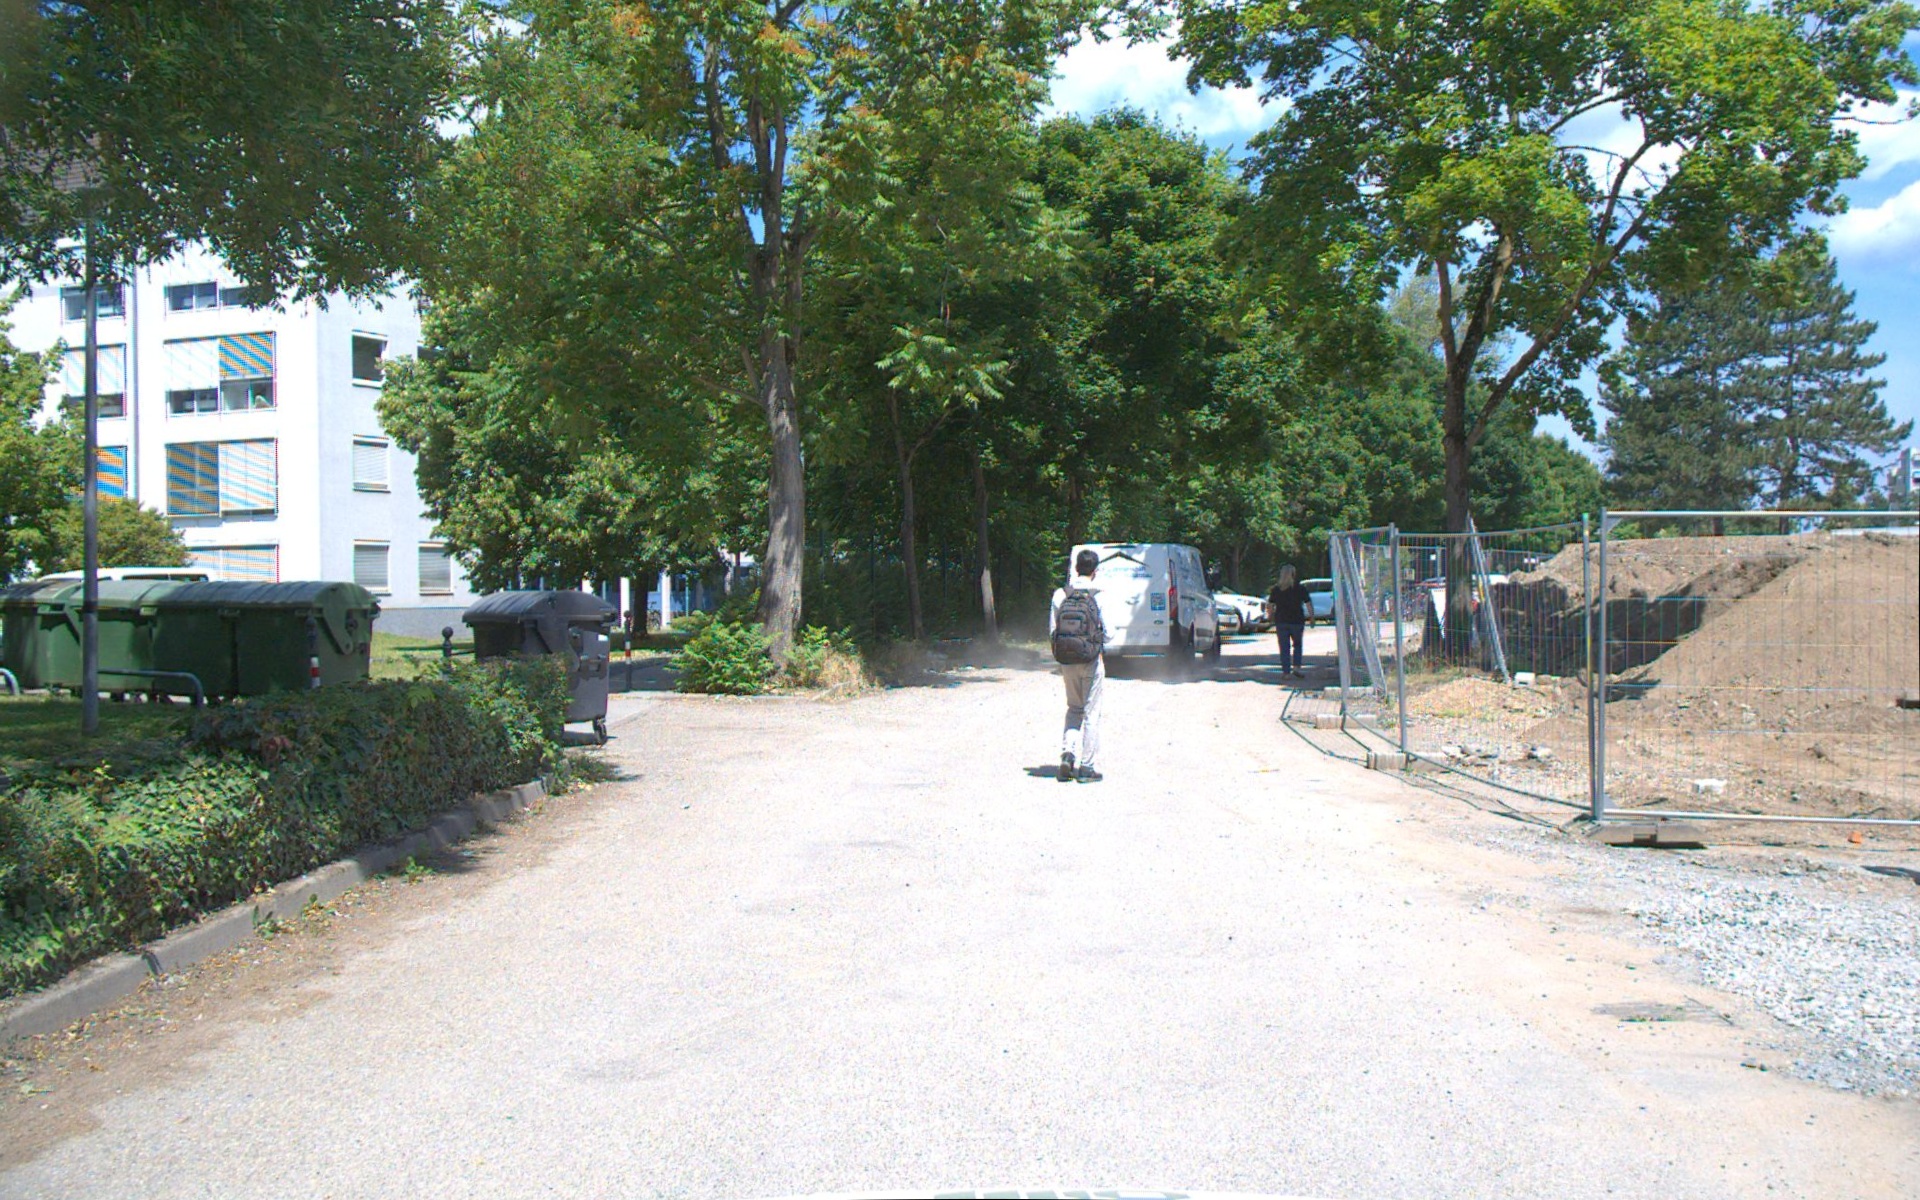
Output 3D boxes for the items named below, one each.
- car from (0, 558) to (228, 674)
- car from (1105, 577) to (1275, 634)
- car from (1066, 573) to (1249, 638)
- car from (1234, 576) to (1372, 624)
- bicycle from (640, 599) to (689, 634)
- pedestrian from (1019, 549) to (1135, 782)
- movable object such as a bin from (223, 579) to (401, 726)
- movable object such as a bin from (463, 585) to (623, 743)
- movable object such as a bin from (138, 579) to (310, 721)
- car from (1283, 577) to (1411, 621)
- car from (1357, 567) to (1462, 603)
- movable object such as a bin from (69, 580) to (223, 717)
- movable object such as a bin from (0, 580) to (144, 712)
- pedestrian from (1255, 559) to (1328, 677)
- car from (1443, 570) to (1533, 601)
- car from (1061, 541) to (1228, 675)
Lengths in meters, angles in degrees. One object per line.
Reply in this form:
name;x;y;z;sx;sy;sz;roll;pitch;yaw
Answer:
car;-16.698;0.266;31.656;1.955;2.049;4.770;-1;0;27
car;6.420;0.134;46.330;4.418;1.558;1.724;0;1;27
car;5.257;0.160;44.081;4.419;1.637;1.997;0;-1;28
car;11.948;-0.014;57.639;4.418;1.625;1.724;0;1;27
bicycle;-10.215;0.564;57.182;0.588;1.103;1.938;5;3;25
pedestrian;0.938;0.483;13.022;0.855;1.759;1.081;0;1;7
movable object such as a bin;-6.952;0.535;17.780;1.294;1.505;1.207;0;1;24
movable object such as a bin;-4.002;0.574;15.851;1.106;1.418;1.144;-1;1;-40
movable object such as a bin;-8.134;0.532;18.321;1.327;1.505;1.097;0;1;17
car;14.683;-0.051;62.740;4.418;1.625;1.934;0;1;27
car;20.776;-0.686;76.421;4.418;1.625;1.724;0;1;27
movable object such as a bin;-9.341;0.527;18.998;1.233;1.505;1.046;0;1;28
movable object such as a bin;-10.658;0.522;19.728;1.378;1.505;1.046;0;1;28
pedestrian;4.843;0.241;24.171;1.013;1.678;1.050;0;1;12
car;28.590;-0.781;89.581;4.418;1.625;1.724;0;1;27
car;3.099;0.089;26.843;1.931;1.981;4.584;0;1;16
